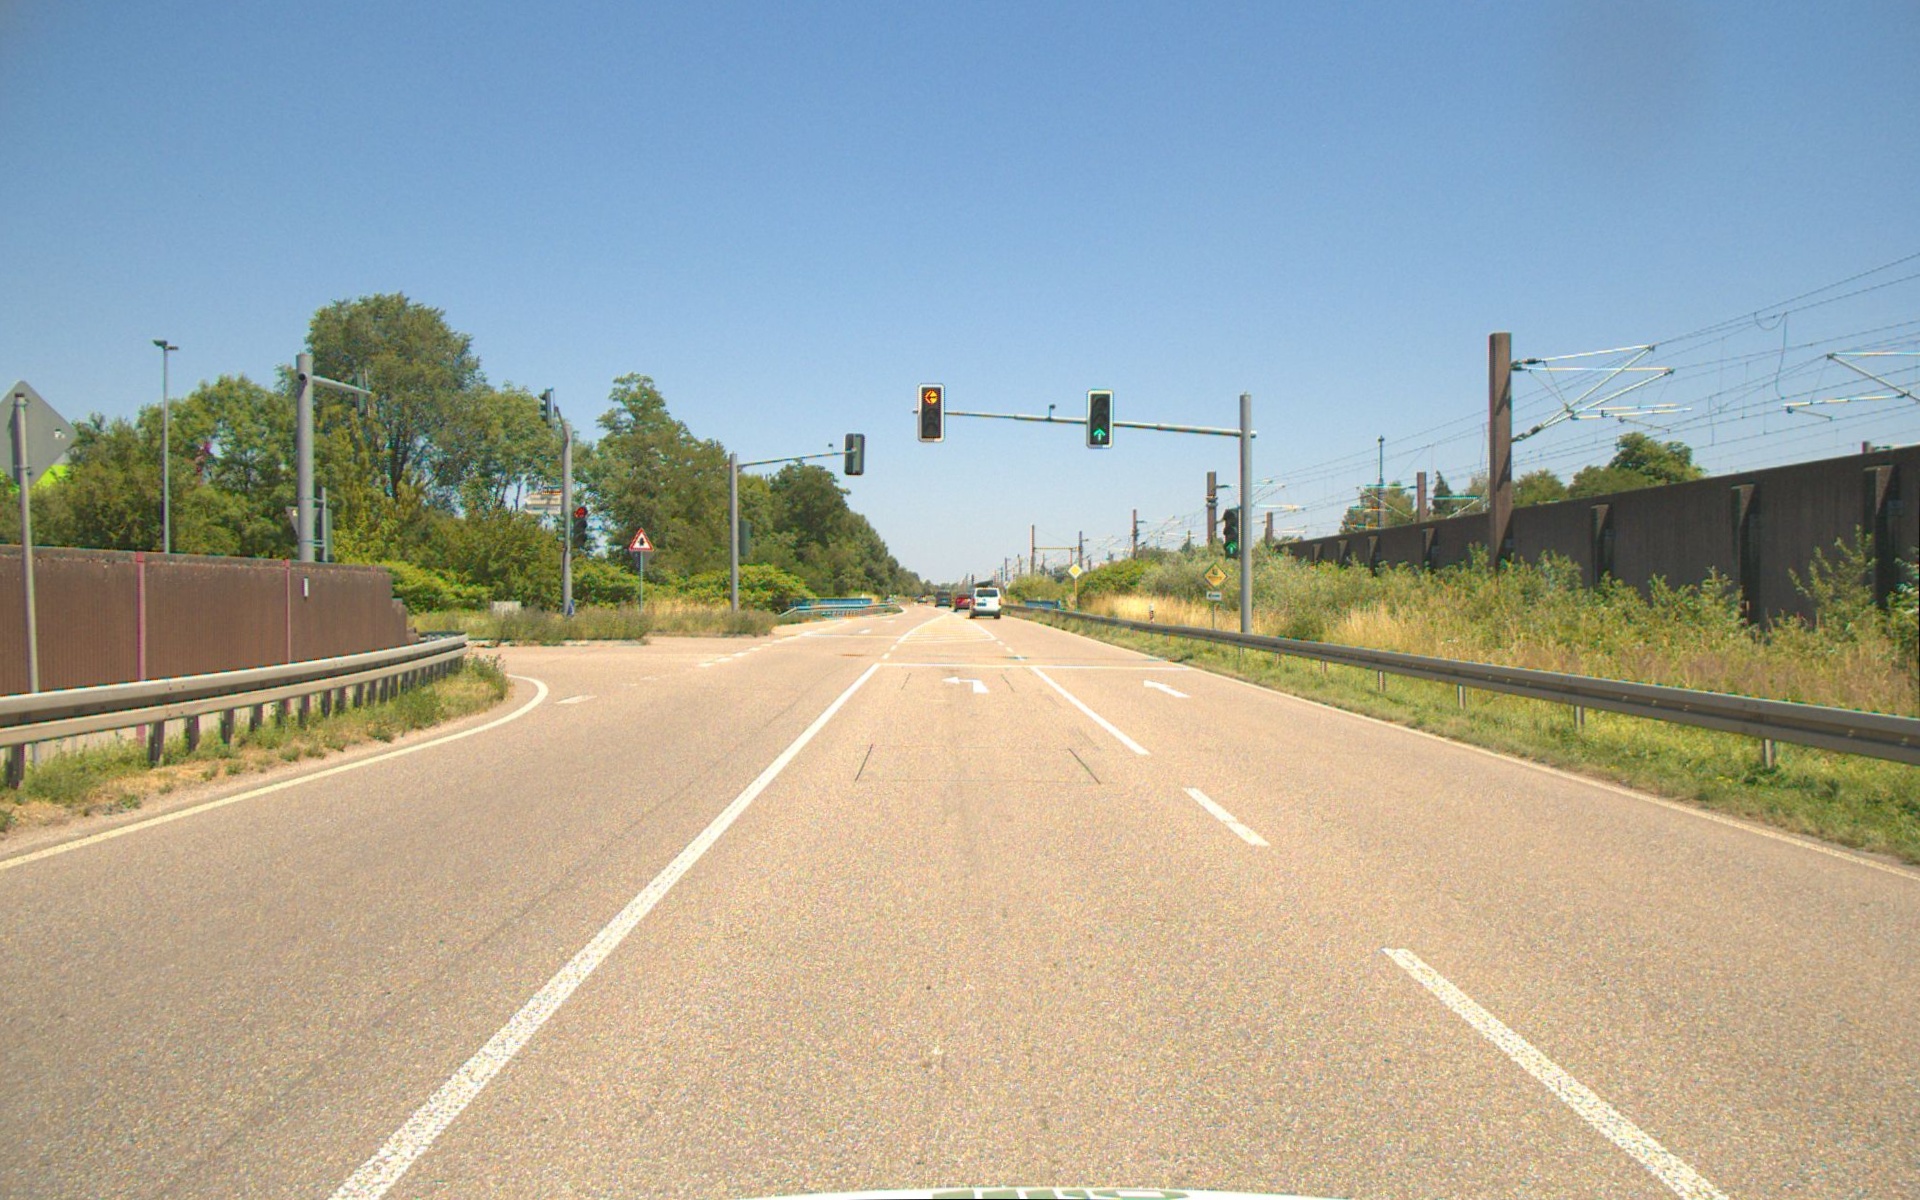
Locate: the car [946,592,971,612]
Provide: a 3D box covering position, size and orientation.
[{"bbox_3d":[-0.137,0.149,147.776,1.979,1.756,4.541,1,0,-2],"label":"car"}]

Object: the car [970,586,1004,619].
[{"bbox_3d":[1.697,0.161,104.980,1.953,2.018,4.058,1,0,-2],"label":"car"}]

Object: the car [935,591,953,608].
[{"bbox_3d":[-1.990,-0.102,204.340,2.111,2.002,4.541,1,0,-2],"label":"car"}]
